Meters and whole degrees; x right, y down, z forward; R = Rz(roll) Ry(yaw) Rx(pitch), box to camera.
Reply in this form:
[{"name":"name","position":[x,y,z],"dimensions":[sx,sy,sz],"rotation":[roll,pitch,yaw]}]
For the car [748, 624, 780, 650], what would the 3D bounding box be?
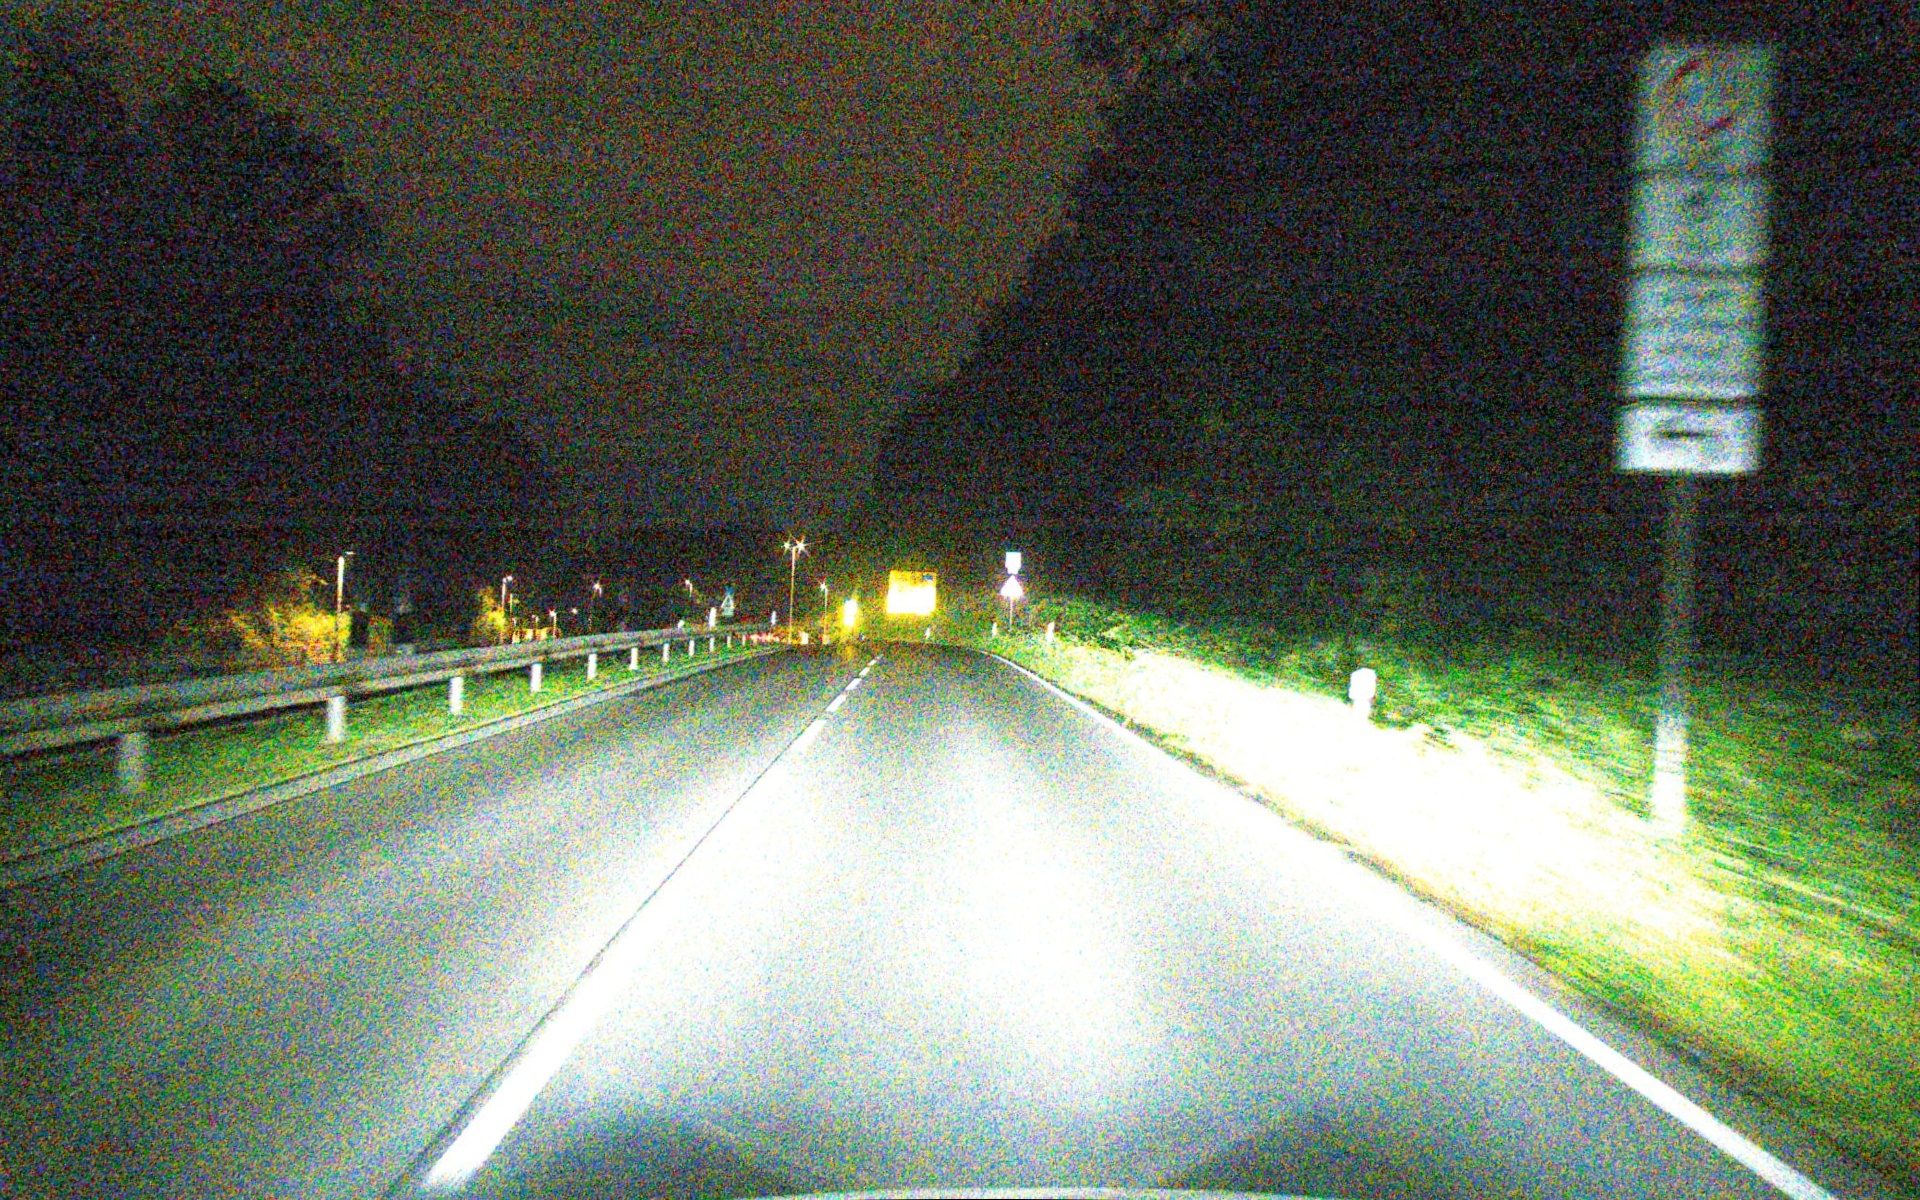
[{"name":"car","position":[-17.073,3.267,144.162],"dimensions":[1.962,2.049,3.980],"rotation":[5,-3,-17]}]
